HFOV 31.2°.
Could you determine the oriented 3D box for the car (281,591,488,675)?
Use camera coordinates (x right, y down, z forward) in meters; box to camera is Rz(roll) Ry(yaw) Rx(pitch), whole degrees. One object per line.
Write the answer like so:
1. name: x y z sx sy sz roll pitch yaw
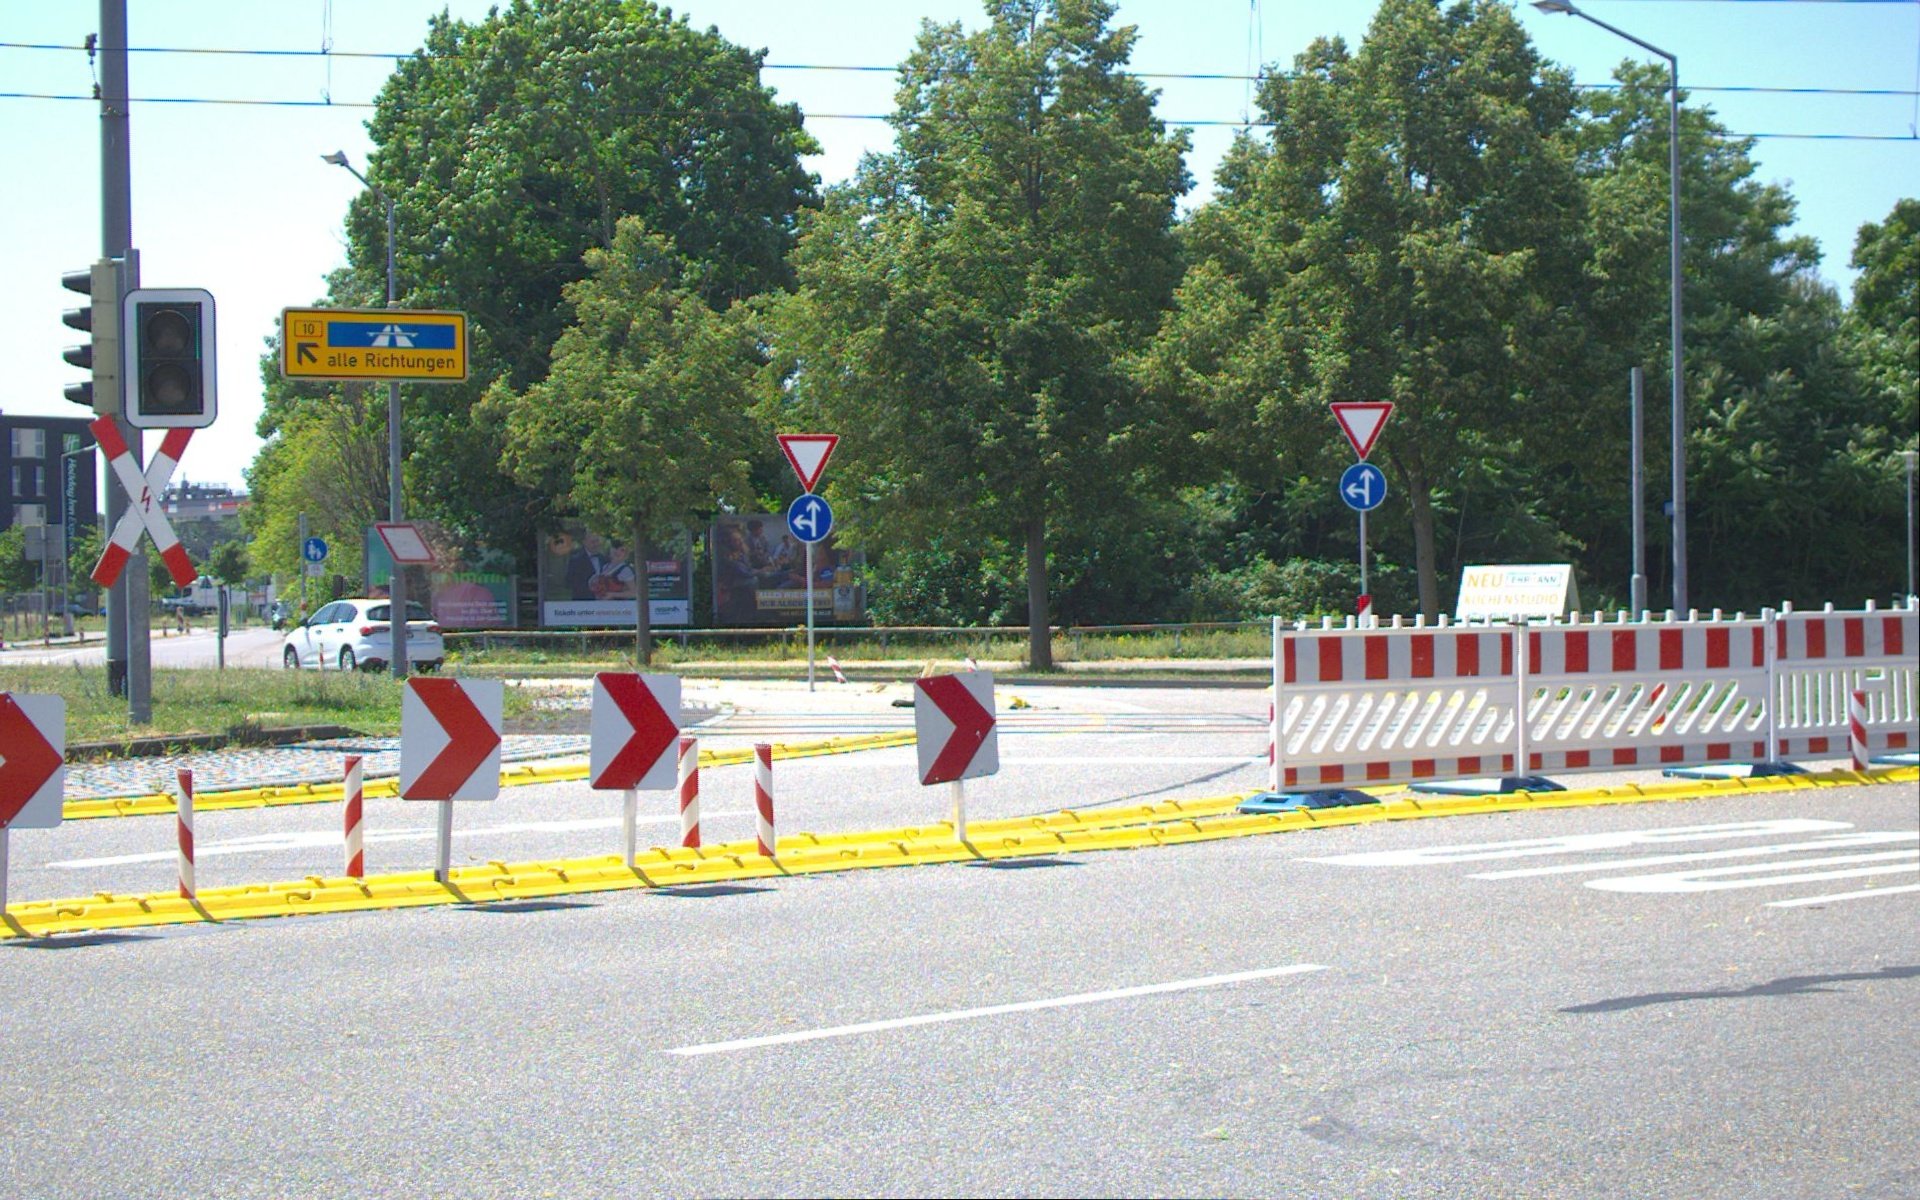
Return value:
1. car: -10.719 0.596 63.828 1.994 1.481 4.365 -1 1 -37
